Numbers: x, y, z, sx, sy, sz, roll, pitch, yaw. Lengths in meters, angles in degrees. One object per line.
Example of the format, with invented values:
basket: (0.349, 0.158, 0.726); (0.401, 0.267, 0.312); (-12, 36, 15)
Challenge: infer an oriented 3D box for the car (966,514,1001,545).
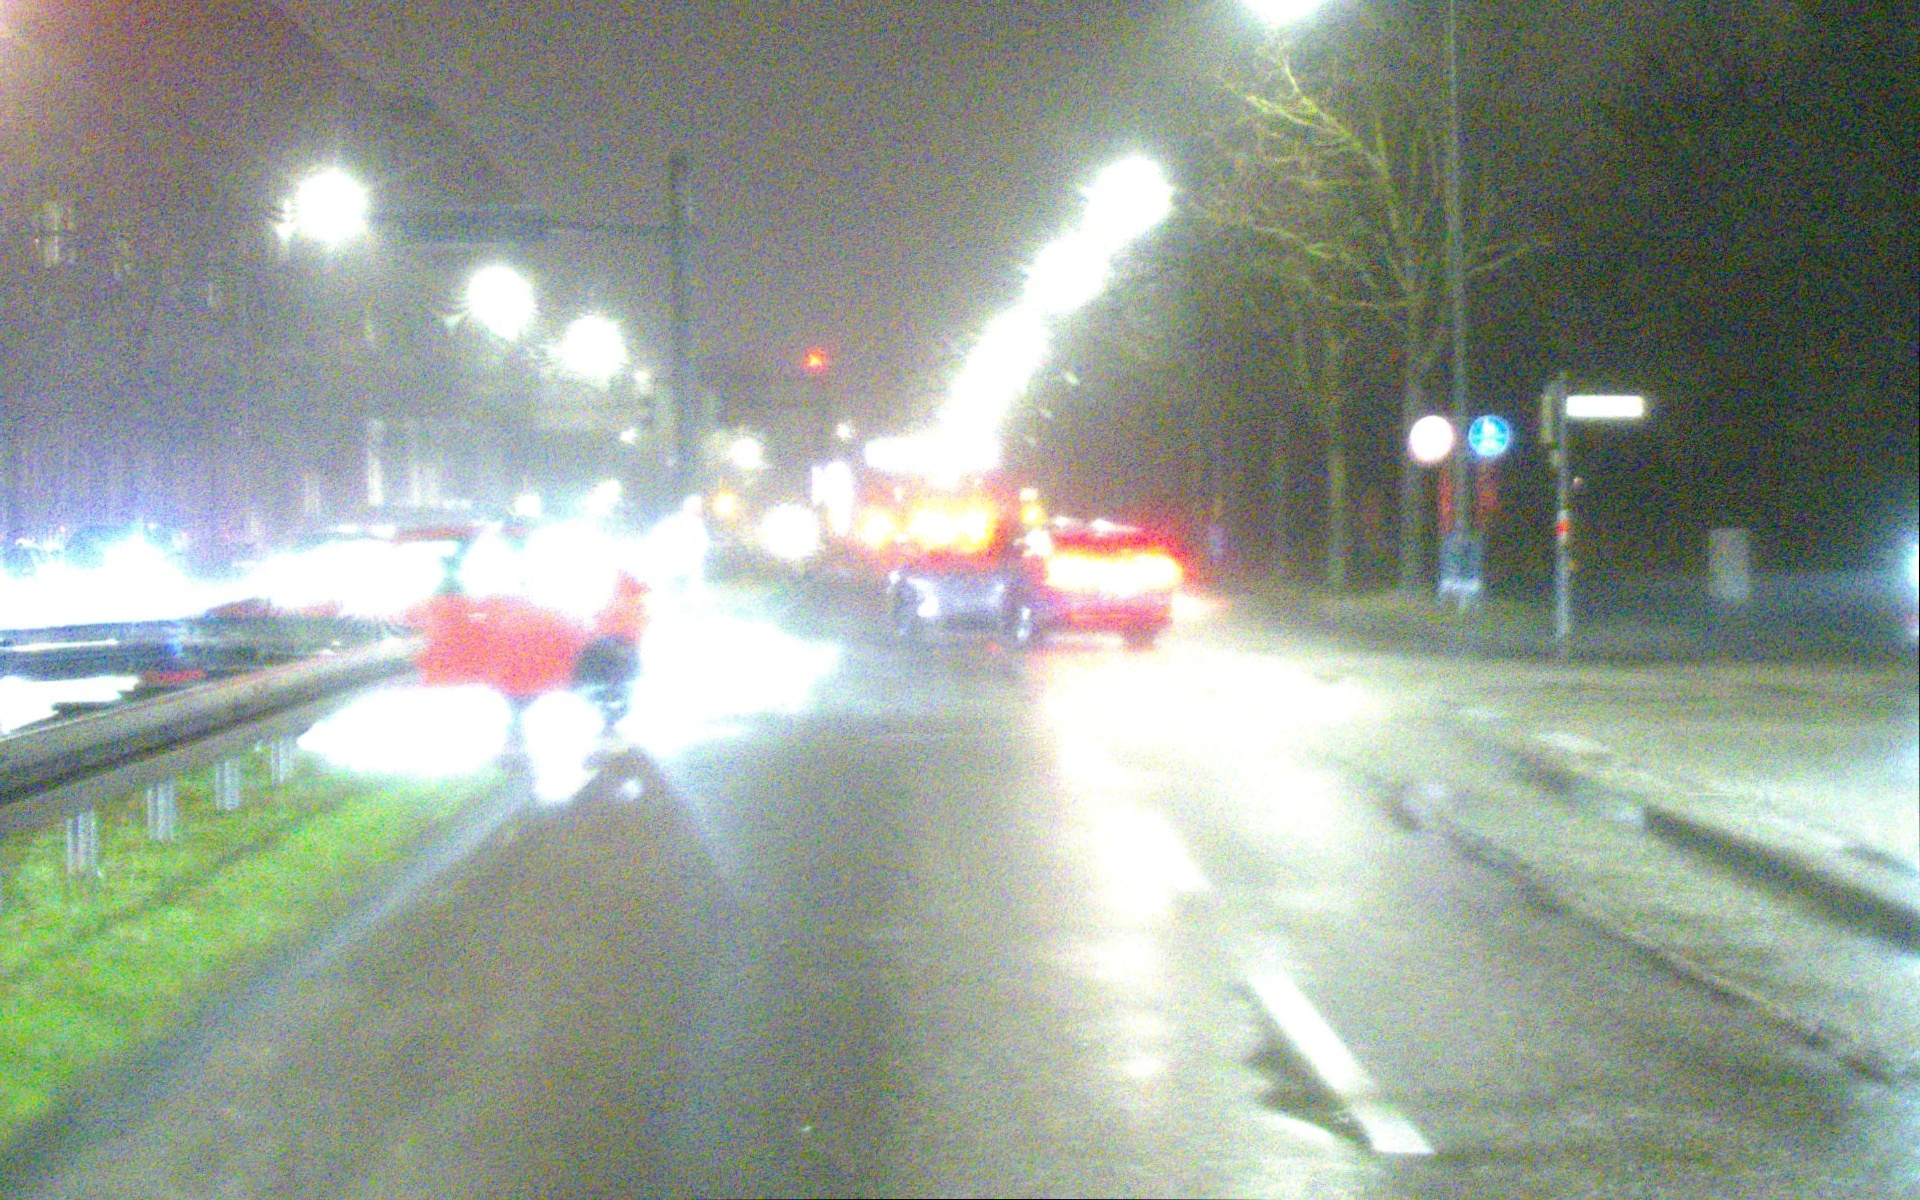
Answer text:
car: (1.401, -4.206, 205.941); (1.993, 1.753, 4.000); (1, 1, -1)

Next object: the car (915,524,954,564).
car: (-1.271, -2.729, 168.589); (1.791, 1.868, 4.627); (1, 1, -1)

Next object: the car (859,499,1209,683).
car: (0.839, -0.137, 42.677); (2.134, 2.137, 4.929); (1, 1, -29)

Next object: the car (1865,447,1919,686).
car: (10.462, -0.313, 29.021); (5.093, 1.978, 2.000); (-1, 1, 0)

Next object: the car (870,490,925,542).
car: (-2.566, -3.392, 139.773); (1.993, 2.007, 4.633); (1, 1, -4)

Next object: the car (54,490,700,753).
car: (-4.143, 0.099, 24.553); (4.068, 1.582, 1.912); (-4, 2, -30)
